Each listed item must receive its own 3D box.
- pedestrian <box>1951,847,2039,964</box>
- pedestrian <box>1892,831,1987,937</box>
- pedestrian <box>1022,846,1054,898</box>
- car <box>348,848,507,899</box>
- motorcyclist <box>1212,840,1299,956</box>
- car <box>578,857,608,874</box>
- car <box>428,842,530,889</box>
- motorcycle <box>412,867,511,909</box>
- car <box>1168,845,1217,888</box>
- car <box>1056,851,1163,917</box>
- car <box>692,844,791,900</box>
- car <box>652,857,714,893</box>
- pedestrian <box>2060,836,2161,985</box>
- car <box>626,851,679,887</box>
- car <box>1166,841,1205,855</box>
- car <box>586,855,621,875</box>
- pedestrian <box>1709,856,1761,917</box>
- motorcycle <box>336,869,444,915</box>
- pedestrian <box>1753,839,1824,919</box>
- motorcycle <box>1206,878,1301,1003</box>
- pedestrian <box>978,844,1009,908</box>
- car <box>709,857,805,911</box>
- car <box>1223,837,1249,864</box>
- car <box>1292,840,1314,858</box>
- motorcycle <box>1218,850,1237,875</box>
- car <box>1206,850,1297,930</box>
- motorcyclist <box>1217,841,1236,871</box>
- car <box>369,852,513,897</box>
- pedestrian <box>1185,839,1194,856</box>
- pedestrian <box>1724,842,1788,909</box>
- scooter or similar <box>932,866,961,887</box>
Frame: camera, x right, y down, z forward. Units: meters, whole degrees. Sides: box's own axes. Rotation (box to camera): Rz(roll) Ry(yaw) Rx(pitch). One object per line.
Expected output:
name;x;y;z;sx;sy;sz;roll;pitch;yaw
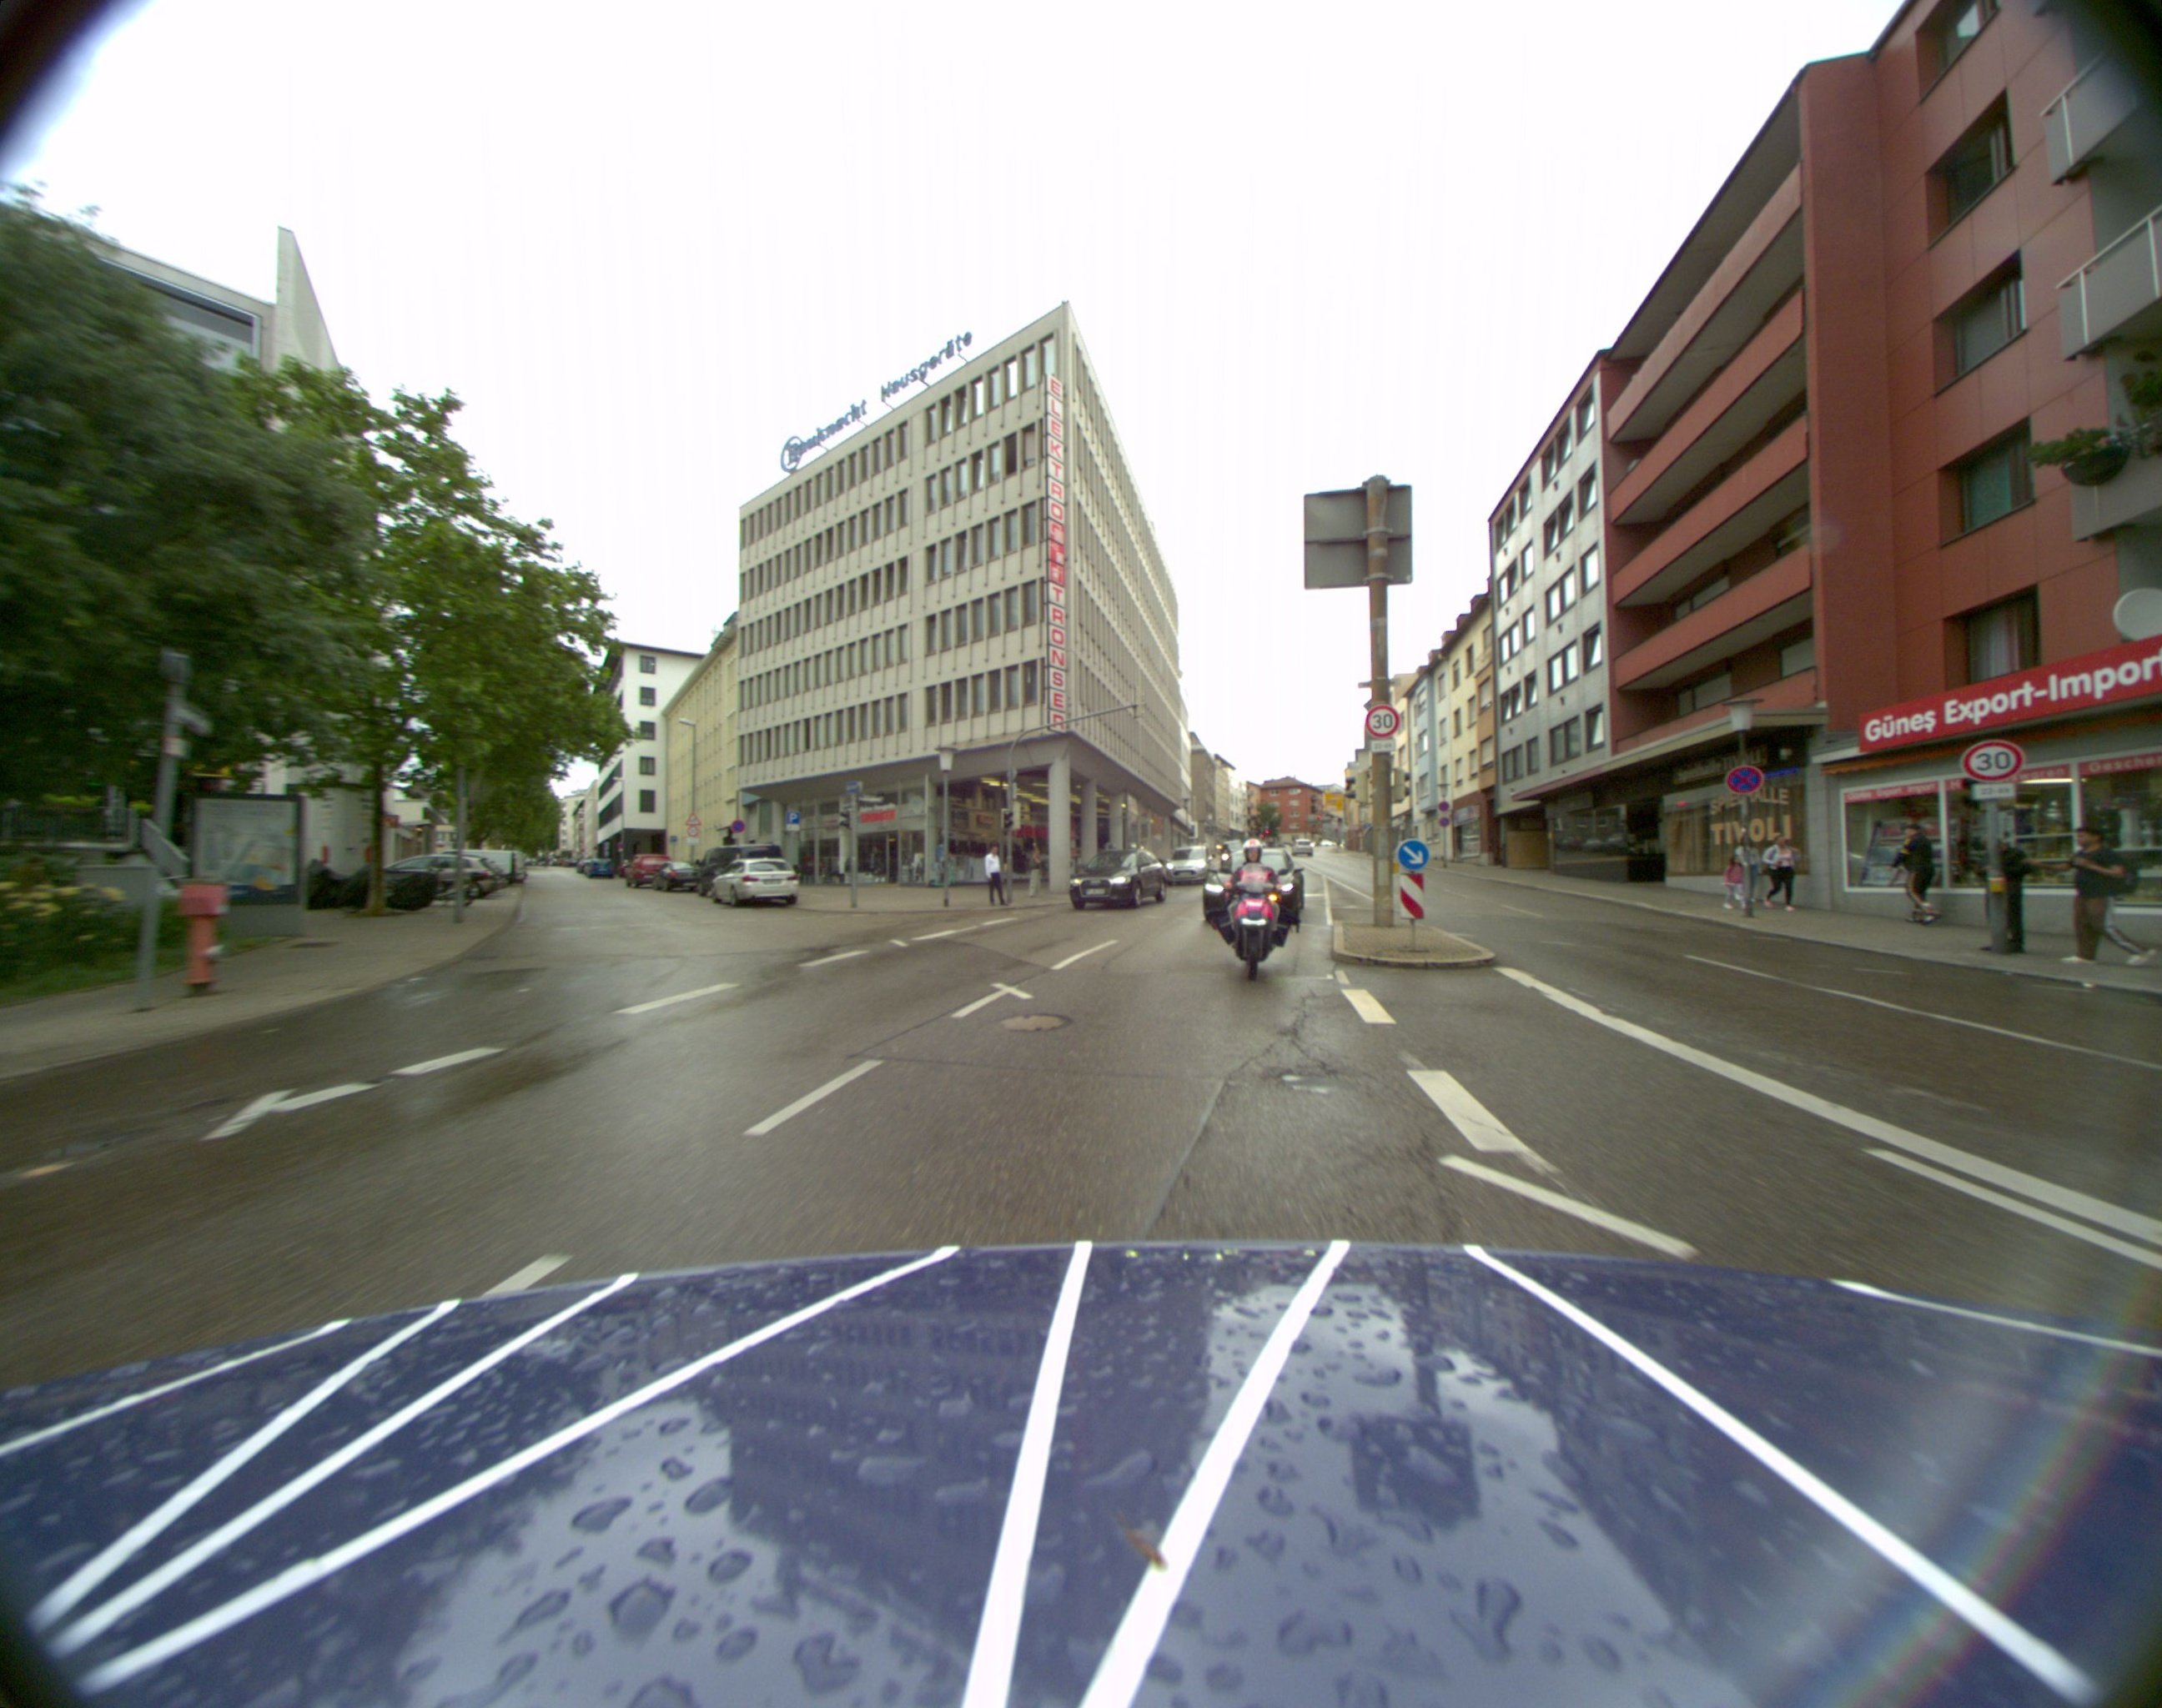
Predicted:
pedestrian;13.559;0.741;11.288;0.555;1.688;0.624;-1;2;10
pedestrian;15.453;0.520;13.700;0.762;1.838;0.844;-1;1;2
pedestrian;-1.437;0.586;25.400;0.721;1.680;0.831;3;3;35
car;-22.912;0.711;26.843;3.944;1.625;1.624;3;-2;-30
motorcyclist;2.195;0.517;9.509;1.009;1.373;0.835;0;2;15
car;-45.886;1.049;71.396;2.004;1.486;3.989;-2;2;-38
car;-32.642;0.566;41.331;3.852;2.386;1.899;-2;2;-22
motorcycle;-18.014;0.999;22.138;2.094;1.110;0.628;3;0;-22
car;4.814;0.480;32.489;1.829;1.532;4.255;-4;0;10
car;0.891;0.734;20.814;1.825;1.551;4.206;0;1;18
car;-13.309;0.625;29.639;1.965;1.986;4.792;-3;2;-44
car;-18.924;0.936;36.061;1.845;1.486;4.123;-2;2;-38
pedestrian;13.304;0.685;9.823;0.831;1.821;0.721;-3;2;-42
car;-23.284;0.767;41.204;1.891;1.754;3.989;-2;2;-38
car;13.331;-0.802;96.902;4.527;1.495;2.002;-3;1;17
car;-39.425;0.909;62.718;2.004;1.486;3.989;-2;2;-38
pedestrian;14.938;0.732;17.368;0.534;1.315;0.724;-3;1;5
motorcycle;-17.779;0.987;19.603;1.945;1.110;0.628;3;-1;-33
pedestrian;15.569;0.538;16.741;0.829;1.680;0.724;-3;1;5
motorcycle;2.246;0.980;9.647;1.009;1.219;2.696;0;1;15
pedestrian;-2.567;0.623;22.360;0.722;1.808;0.830;1;3;7
car;-10.582;0.883;24.630;1.860;1.486;4.839;-2;1;-35
car;11.722;-0.298;57.329;1.846;1.893;3.768;-1;1;12
car;21.355;-0.513;73.208;1.737;1.584;4.178;2;2;13
motorcycle;7.862;0.423;40.913;0.846;1.219;2.374;-4;1;8
car;3.956;0.723;17.167;1.704;1.452;4.323;-3;0;16
motorcyclist;7.824;0.097;40.822;0.846;1.580;0.963;-4;1;8
car;-24.382;0.774;29.109;3.848;1.544;1.624;3;0;-23
pedestrian;11.170;-0.702;78.347;0.785;1.696;1.121;2;2;10
pedestrian;16.156;0.502;18.207;0.829;1.552;0.724;-3;1;5
scooter or similar;-5.470;0.903;30.920;1.128;0.819;0.307;-1;2;-35
